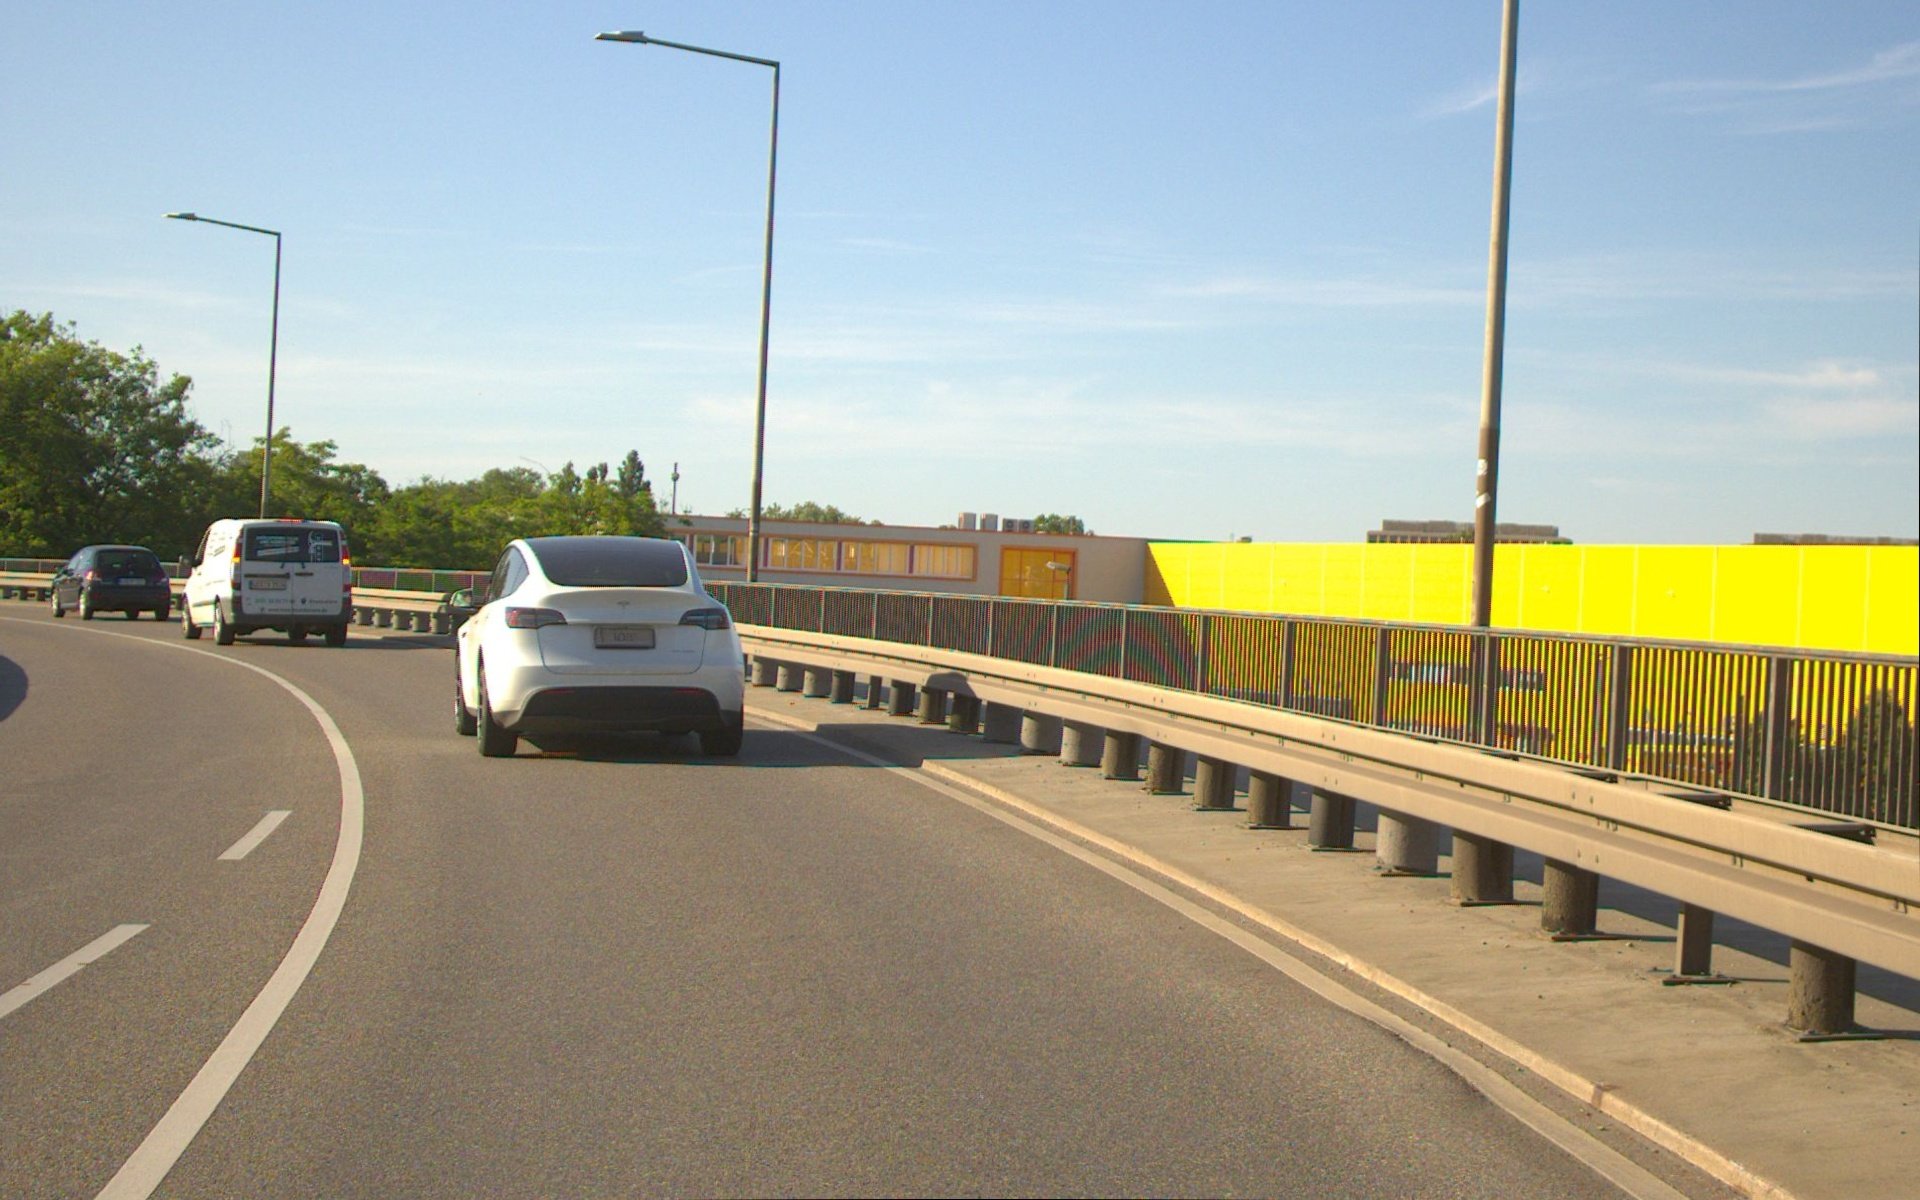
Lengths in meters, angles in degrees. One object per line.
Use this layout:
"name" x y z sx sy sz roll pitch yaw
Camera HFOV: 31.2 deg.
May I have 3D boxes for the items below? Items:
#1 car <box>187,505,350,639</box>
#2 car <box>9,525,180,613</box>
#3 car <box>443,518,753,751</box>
"car" -10.528 -0.444 52.127 2.004 1.934 4.469 1 1 -17
"car" -16.618 -0.597 65.888 1.969 1.632 4.000 -1 1 -33
"car" -2.853 0.217 26.316 1.985 1.632 4.064 0 1 -11
